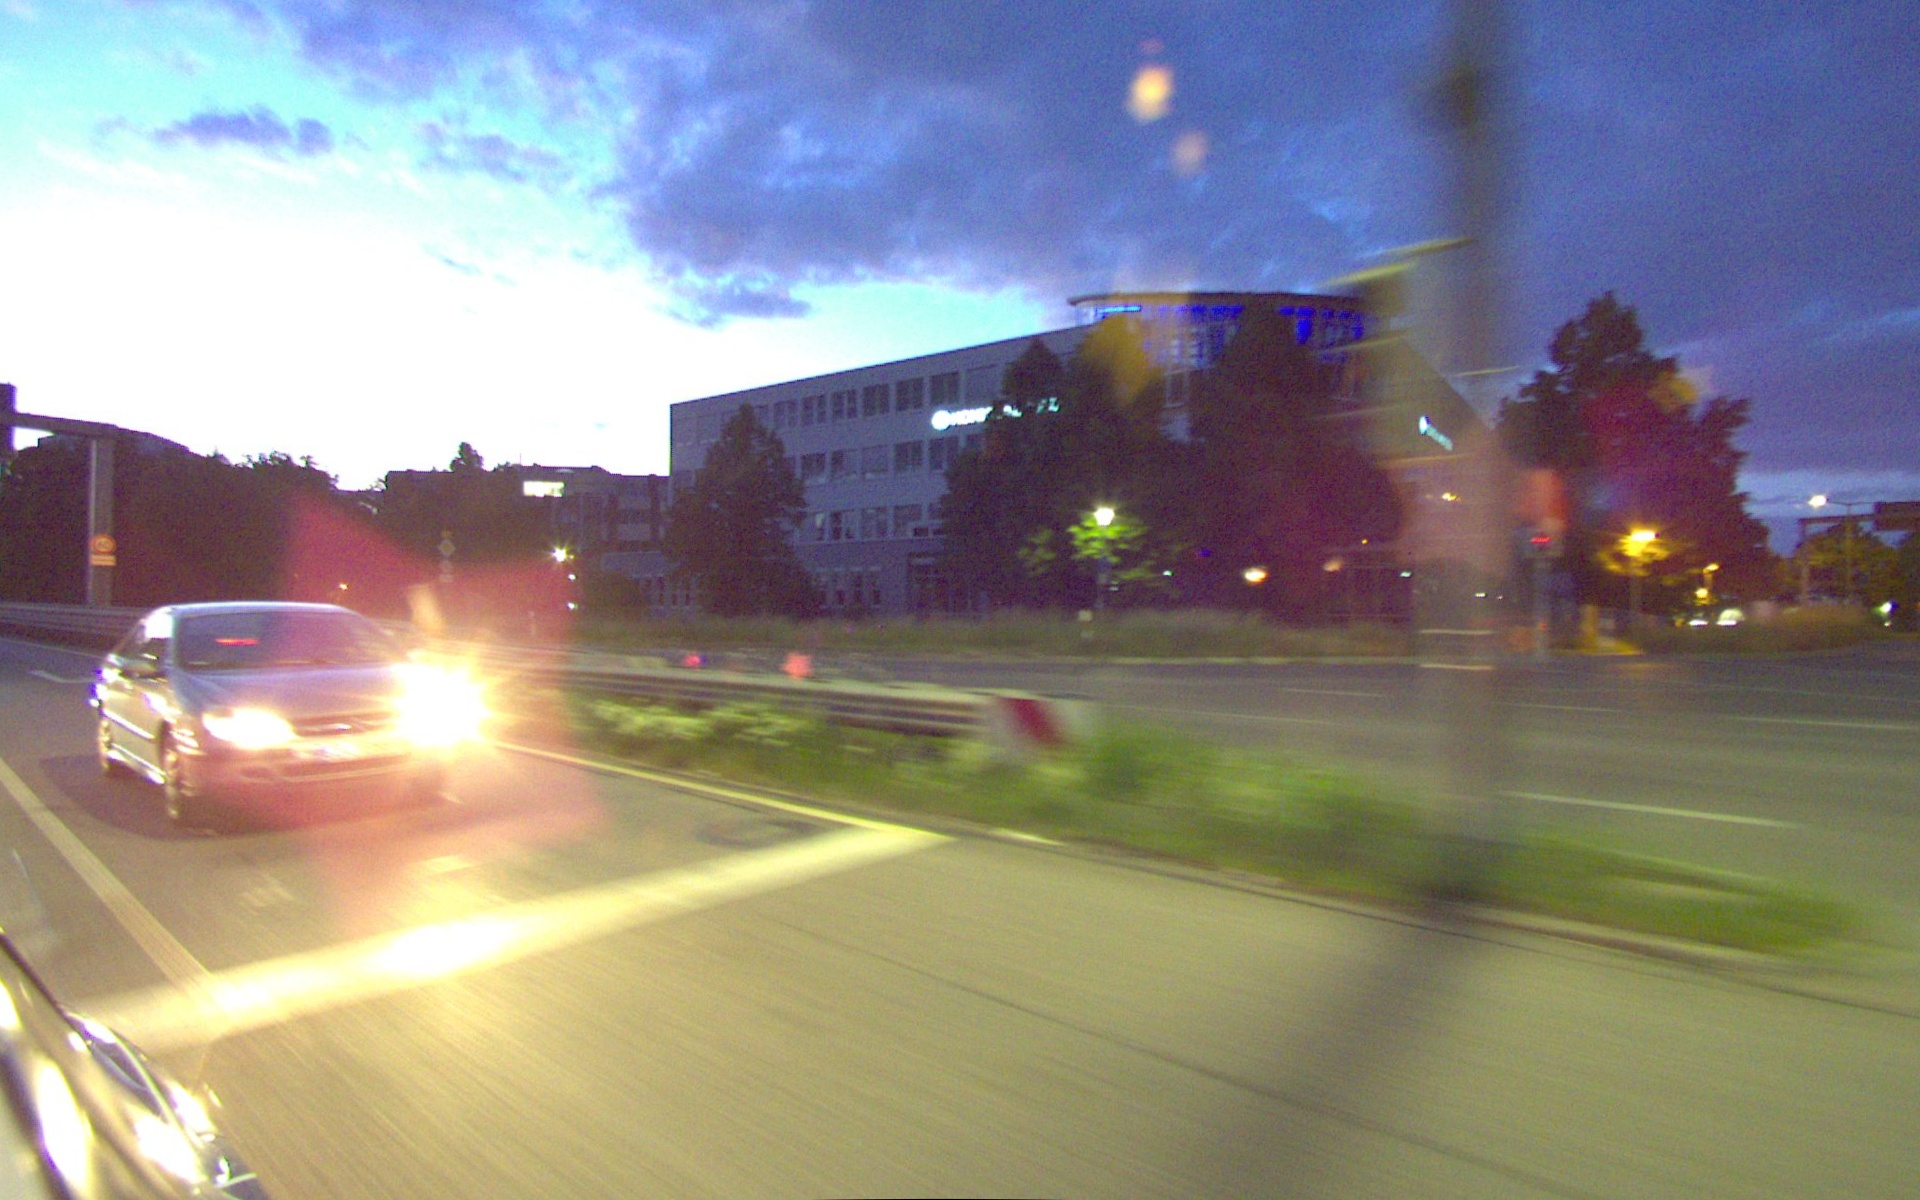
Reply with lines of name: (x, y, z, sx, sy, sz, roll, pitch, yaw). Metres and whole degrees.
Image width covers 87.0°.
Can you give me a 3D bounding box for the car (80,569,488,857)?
car: (-5.495, 0.647, 7.962, 4.410, 1.665, 1.648, 0, 1, 42)
